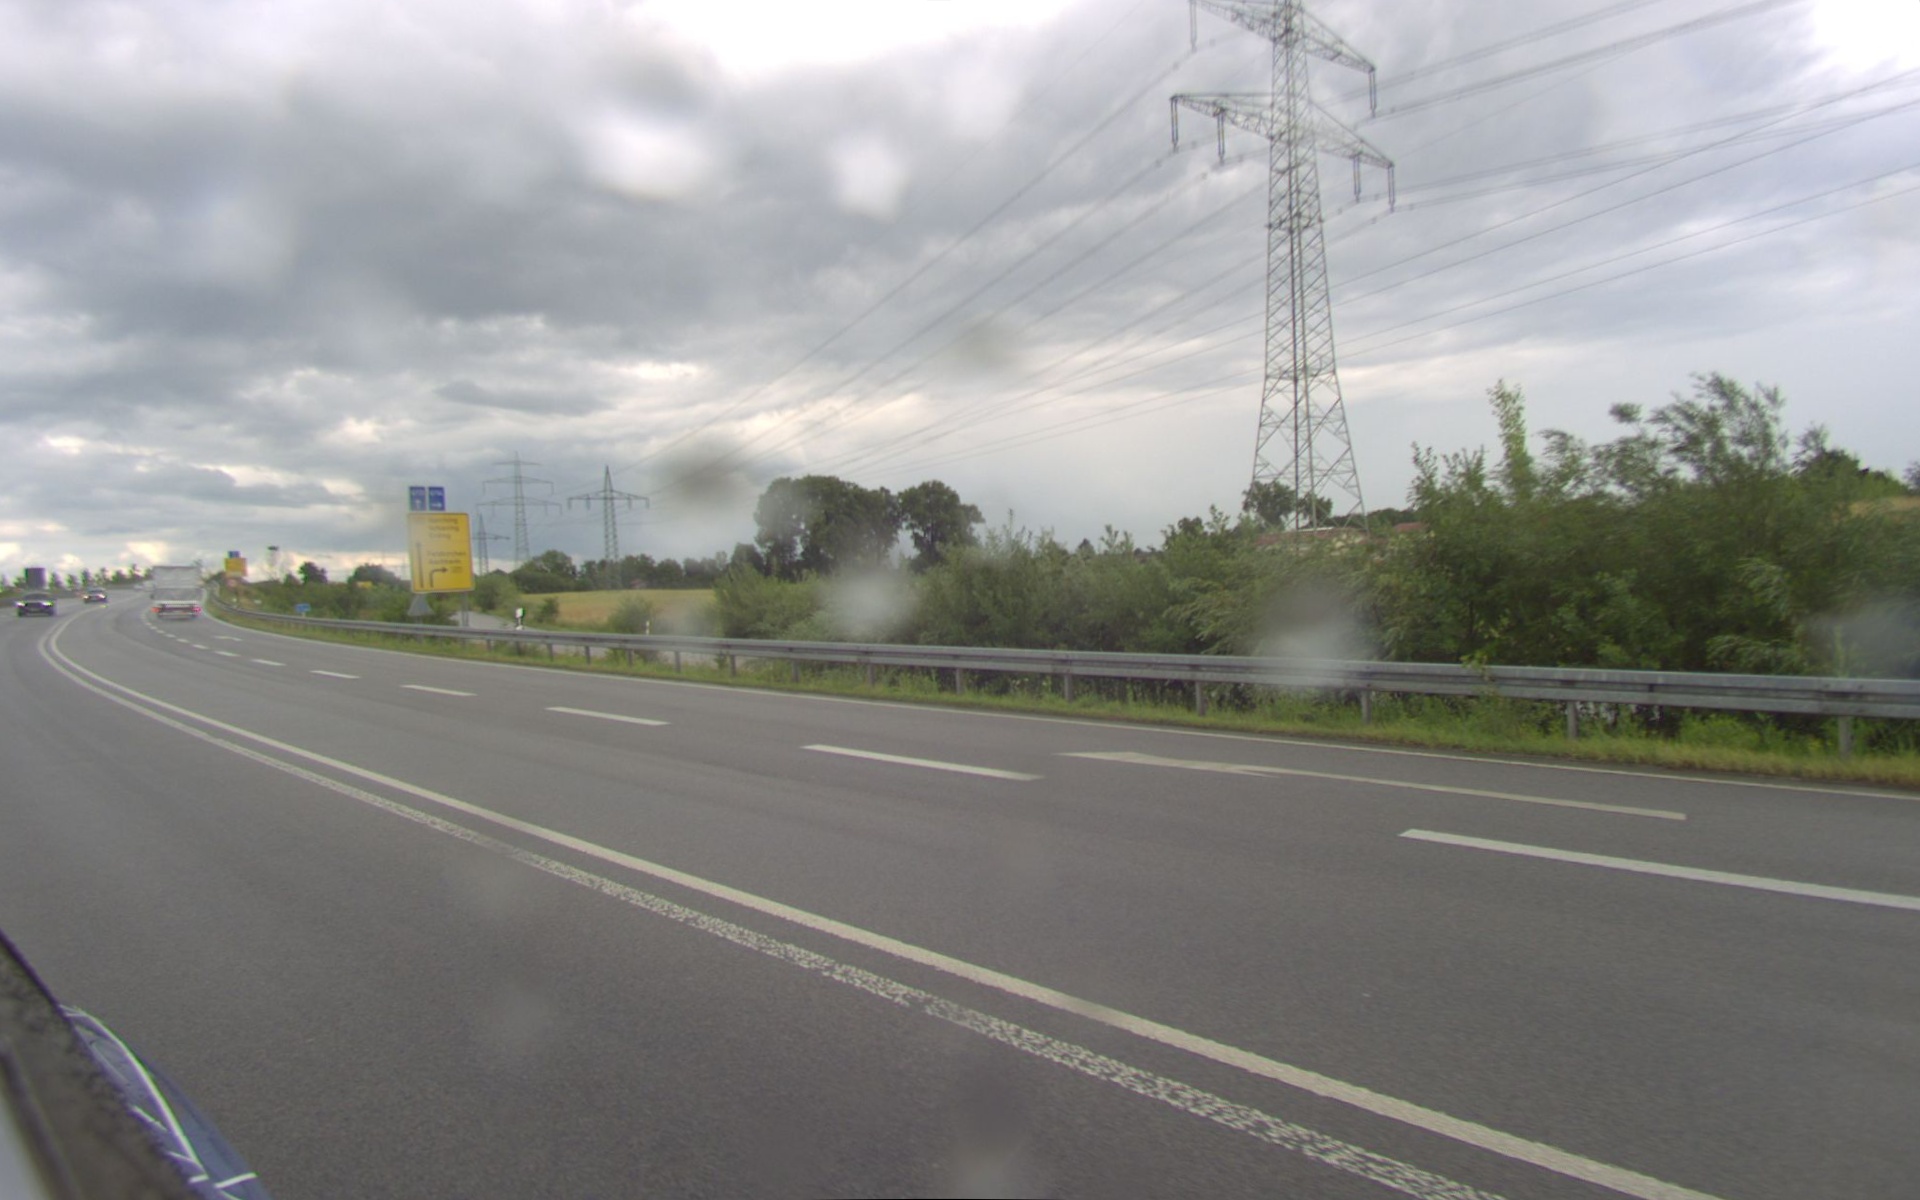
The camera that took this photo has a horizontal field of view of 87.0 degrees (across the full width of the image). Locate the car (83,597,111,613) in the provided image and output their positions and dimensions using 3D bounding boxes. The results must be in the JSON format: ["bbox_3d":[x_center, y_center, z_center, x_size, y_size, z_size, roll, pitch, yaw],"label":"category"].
[{"bbox_3d":[-88.513,0.483,103.845,1.721,1.508,4.060,-3,0,-35],"label":"car"}]

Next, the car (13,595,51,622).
[{"bbox_3d":[-64.050,0.613,69.877,1.769,1.782,4.006,0,-1,-41],"label":"car"}]

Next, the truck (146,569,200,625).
[{"bbox_3d":[-49.454,-0.135,63.535,2.449,3.317,7.293,0,-1,-40],"label":"truck"}]
